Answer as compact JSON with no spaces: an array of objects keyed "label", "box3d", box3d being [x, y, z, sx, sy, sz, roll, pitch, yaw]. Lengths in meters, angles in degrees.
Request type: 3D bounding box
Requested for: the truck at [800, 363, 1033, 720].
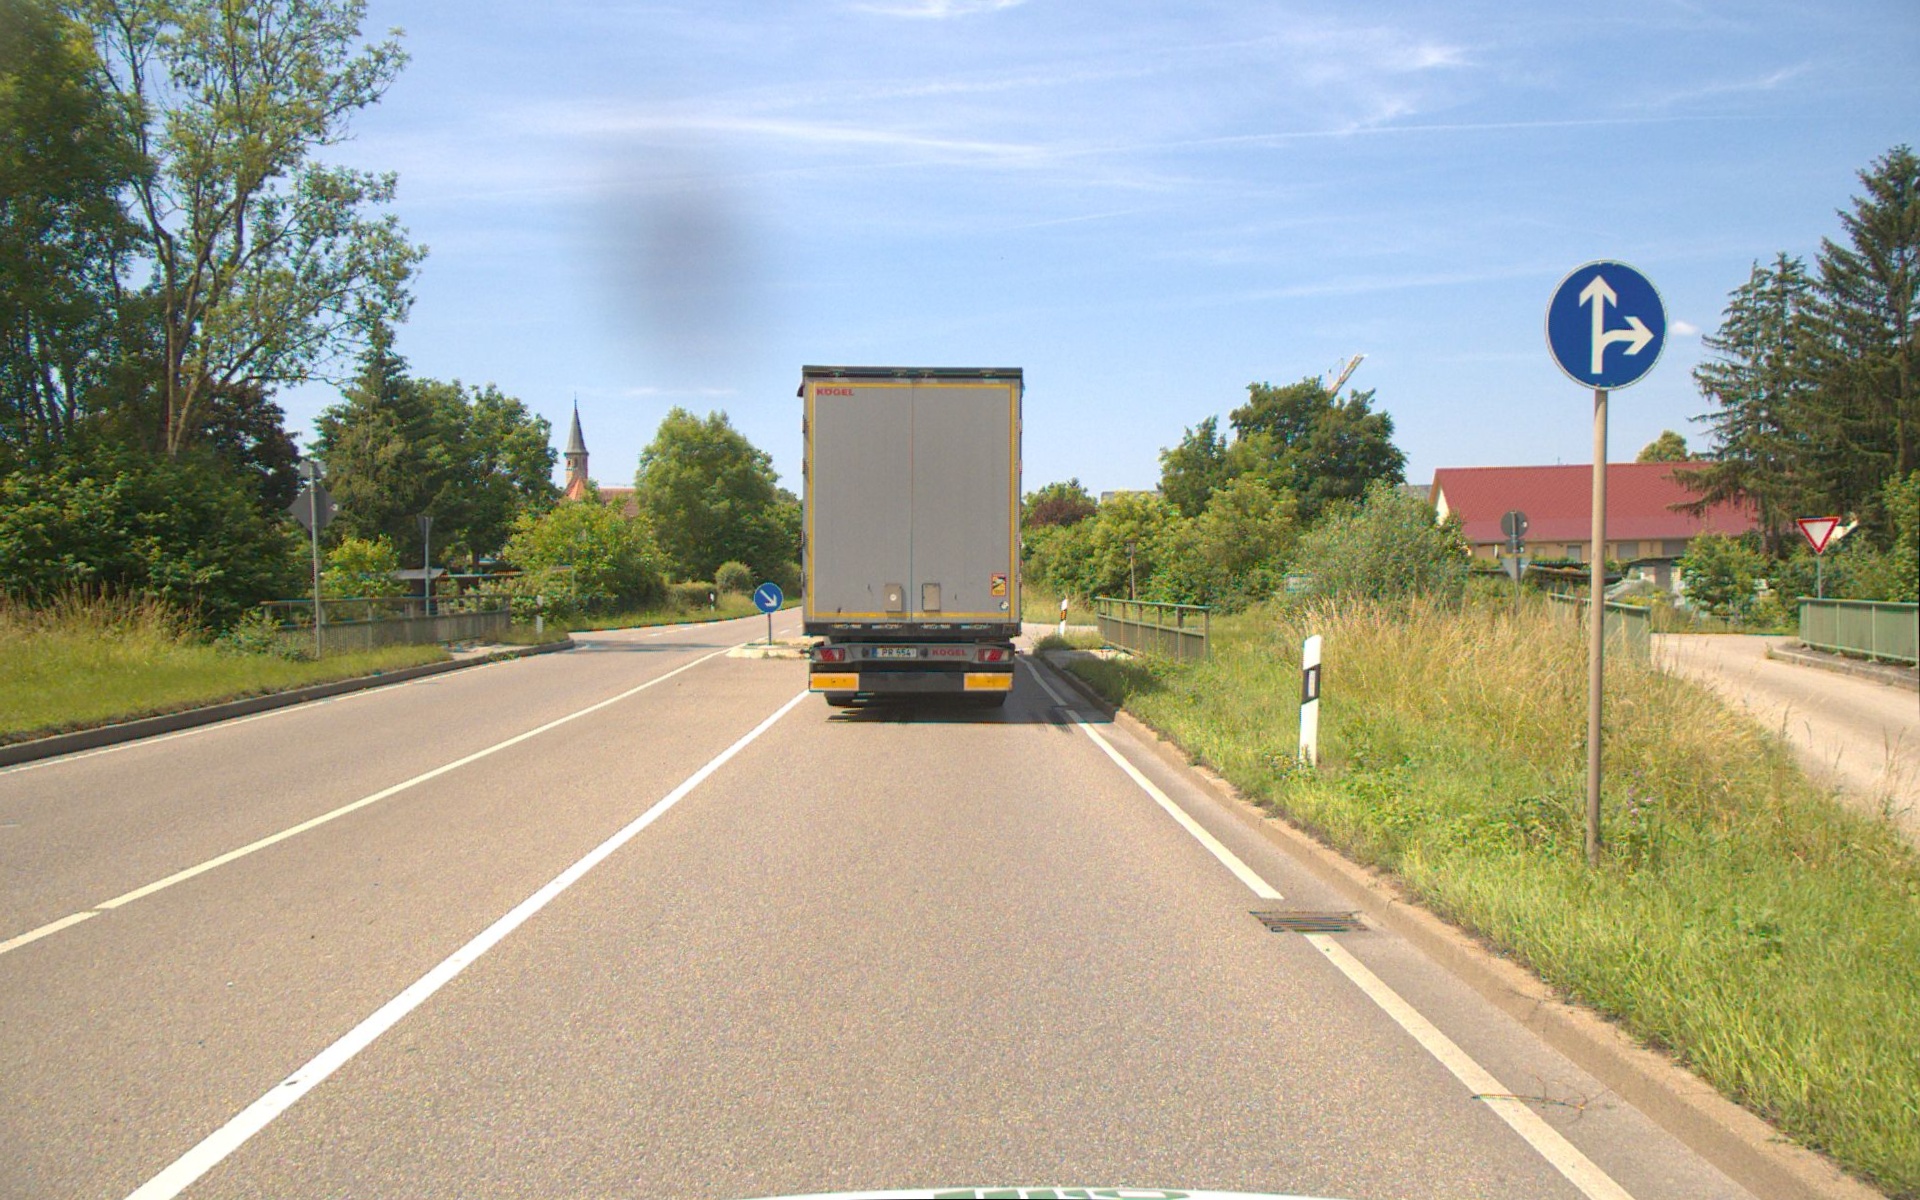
[{"label":"truck","box3d":[-0.650,-0.677,23.030,2.594,3.985,8.821,1,0,-2]}]
